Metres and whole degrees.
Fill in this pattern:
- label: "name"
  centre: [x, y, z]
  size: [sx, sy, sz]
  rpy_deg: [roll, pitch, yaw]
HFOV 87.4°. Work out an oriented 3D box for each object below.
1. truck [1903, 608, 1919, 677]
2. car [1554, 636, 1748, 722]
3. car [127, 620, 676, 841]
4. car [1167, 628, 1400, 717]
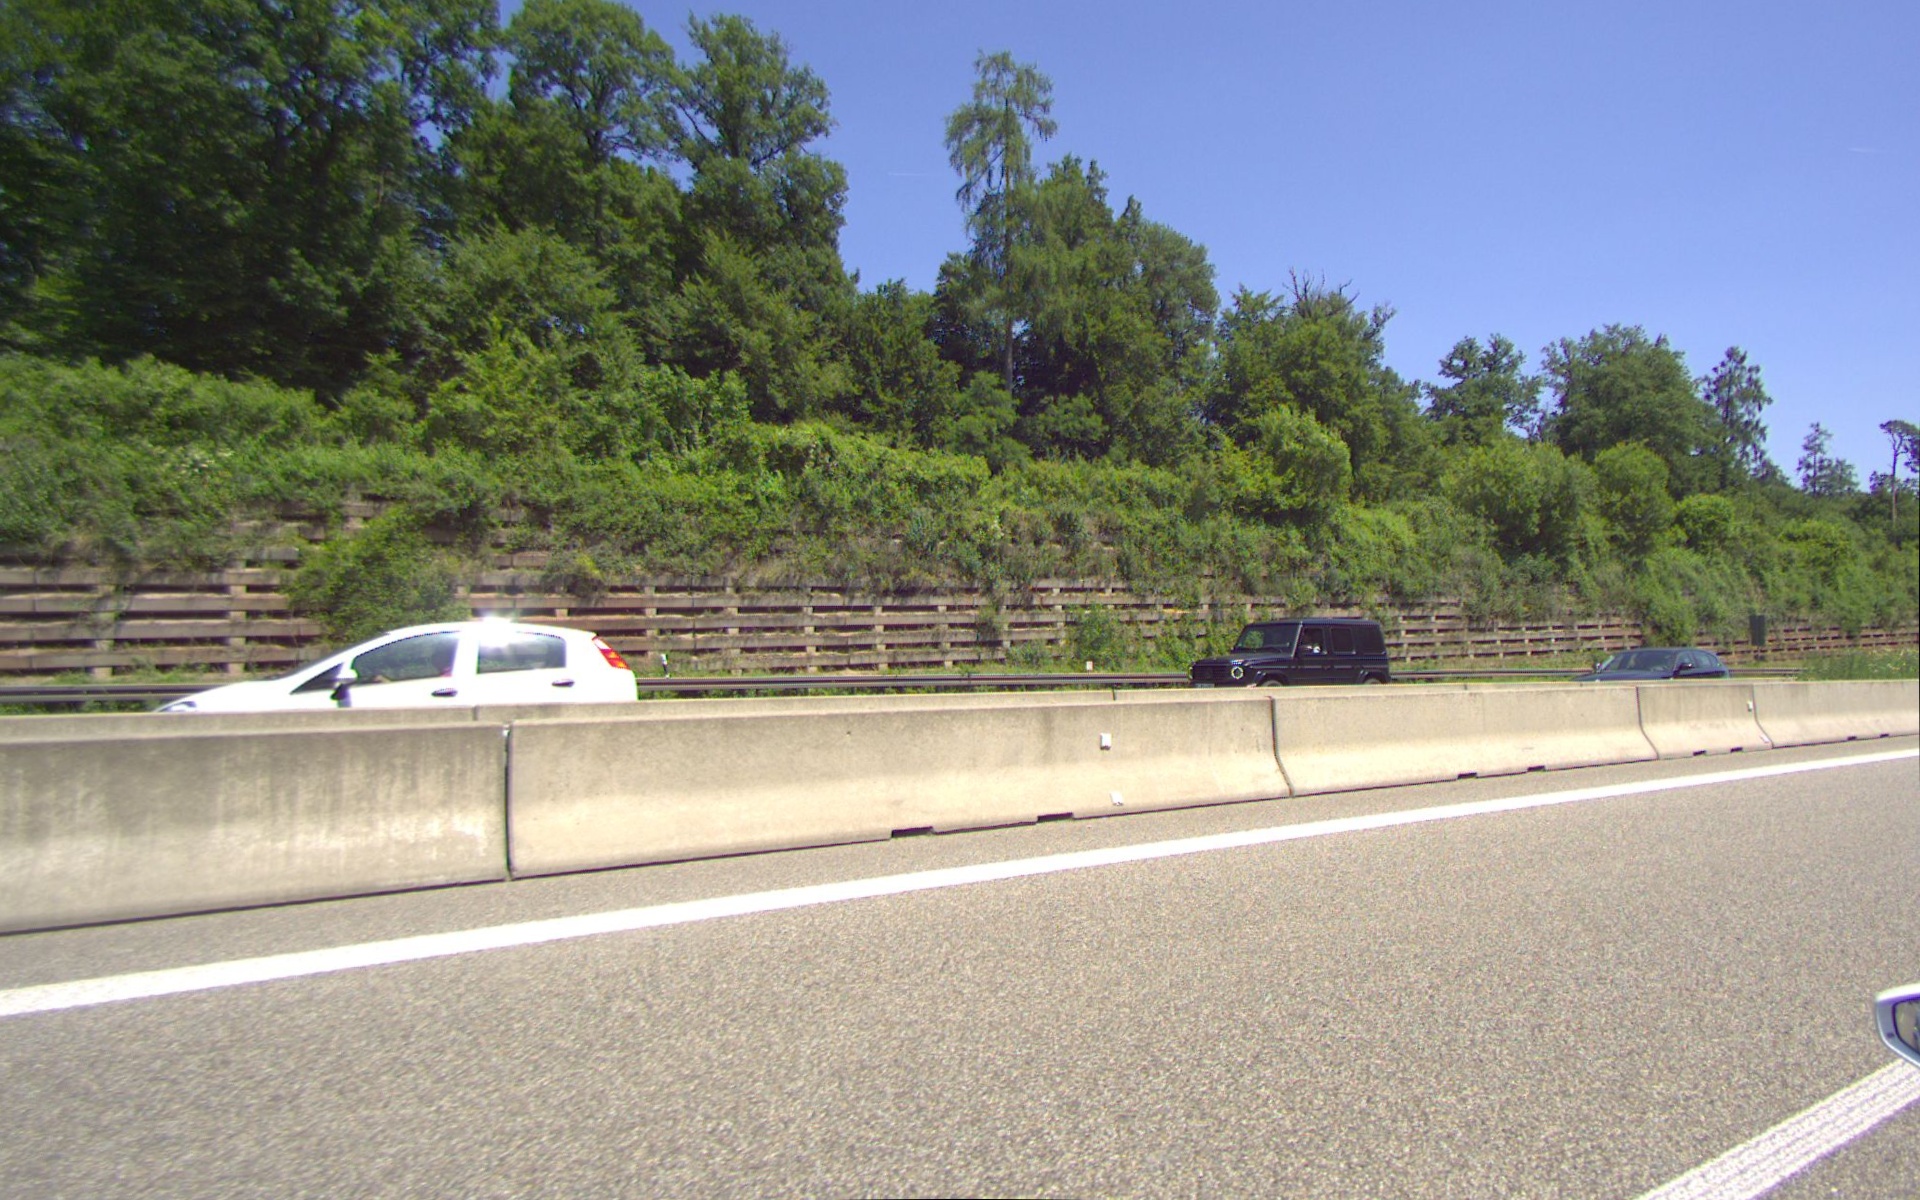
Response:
- label: "truck"
  centre: [60.077, 2.565, 60.650]
  size: [5.800, 4.112, 2.921]
  rpy_deg: [2, -4, -30]
- label: "car"
  centre: [14.254, 1.566, 20.687]
  size: [4.034, 1.626, 1.753]
  rpy_deg: [1, -3, -31]
- label: "car"
  centre: [-4.832, 1.037, 9.198]
  size: [4.011, 1.626, 1.738]
  rpy_deg: [1, -3, -31]
- label: "car"
  centre: [6.572, 1.402, 20.284]
  size: [4.602, 1.626, 1.931]
  rpy_deg: [1, -3, -31]
